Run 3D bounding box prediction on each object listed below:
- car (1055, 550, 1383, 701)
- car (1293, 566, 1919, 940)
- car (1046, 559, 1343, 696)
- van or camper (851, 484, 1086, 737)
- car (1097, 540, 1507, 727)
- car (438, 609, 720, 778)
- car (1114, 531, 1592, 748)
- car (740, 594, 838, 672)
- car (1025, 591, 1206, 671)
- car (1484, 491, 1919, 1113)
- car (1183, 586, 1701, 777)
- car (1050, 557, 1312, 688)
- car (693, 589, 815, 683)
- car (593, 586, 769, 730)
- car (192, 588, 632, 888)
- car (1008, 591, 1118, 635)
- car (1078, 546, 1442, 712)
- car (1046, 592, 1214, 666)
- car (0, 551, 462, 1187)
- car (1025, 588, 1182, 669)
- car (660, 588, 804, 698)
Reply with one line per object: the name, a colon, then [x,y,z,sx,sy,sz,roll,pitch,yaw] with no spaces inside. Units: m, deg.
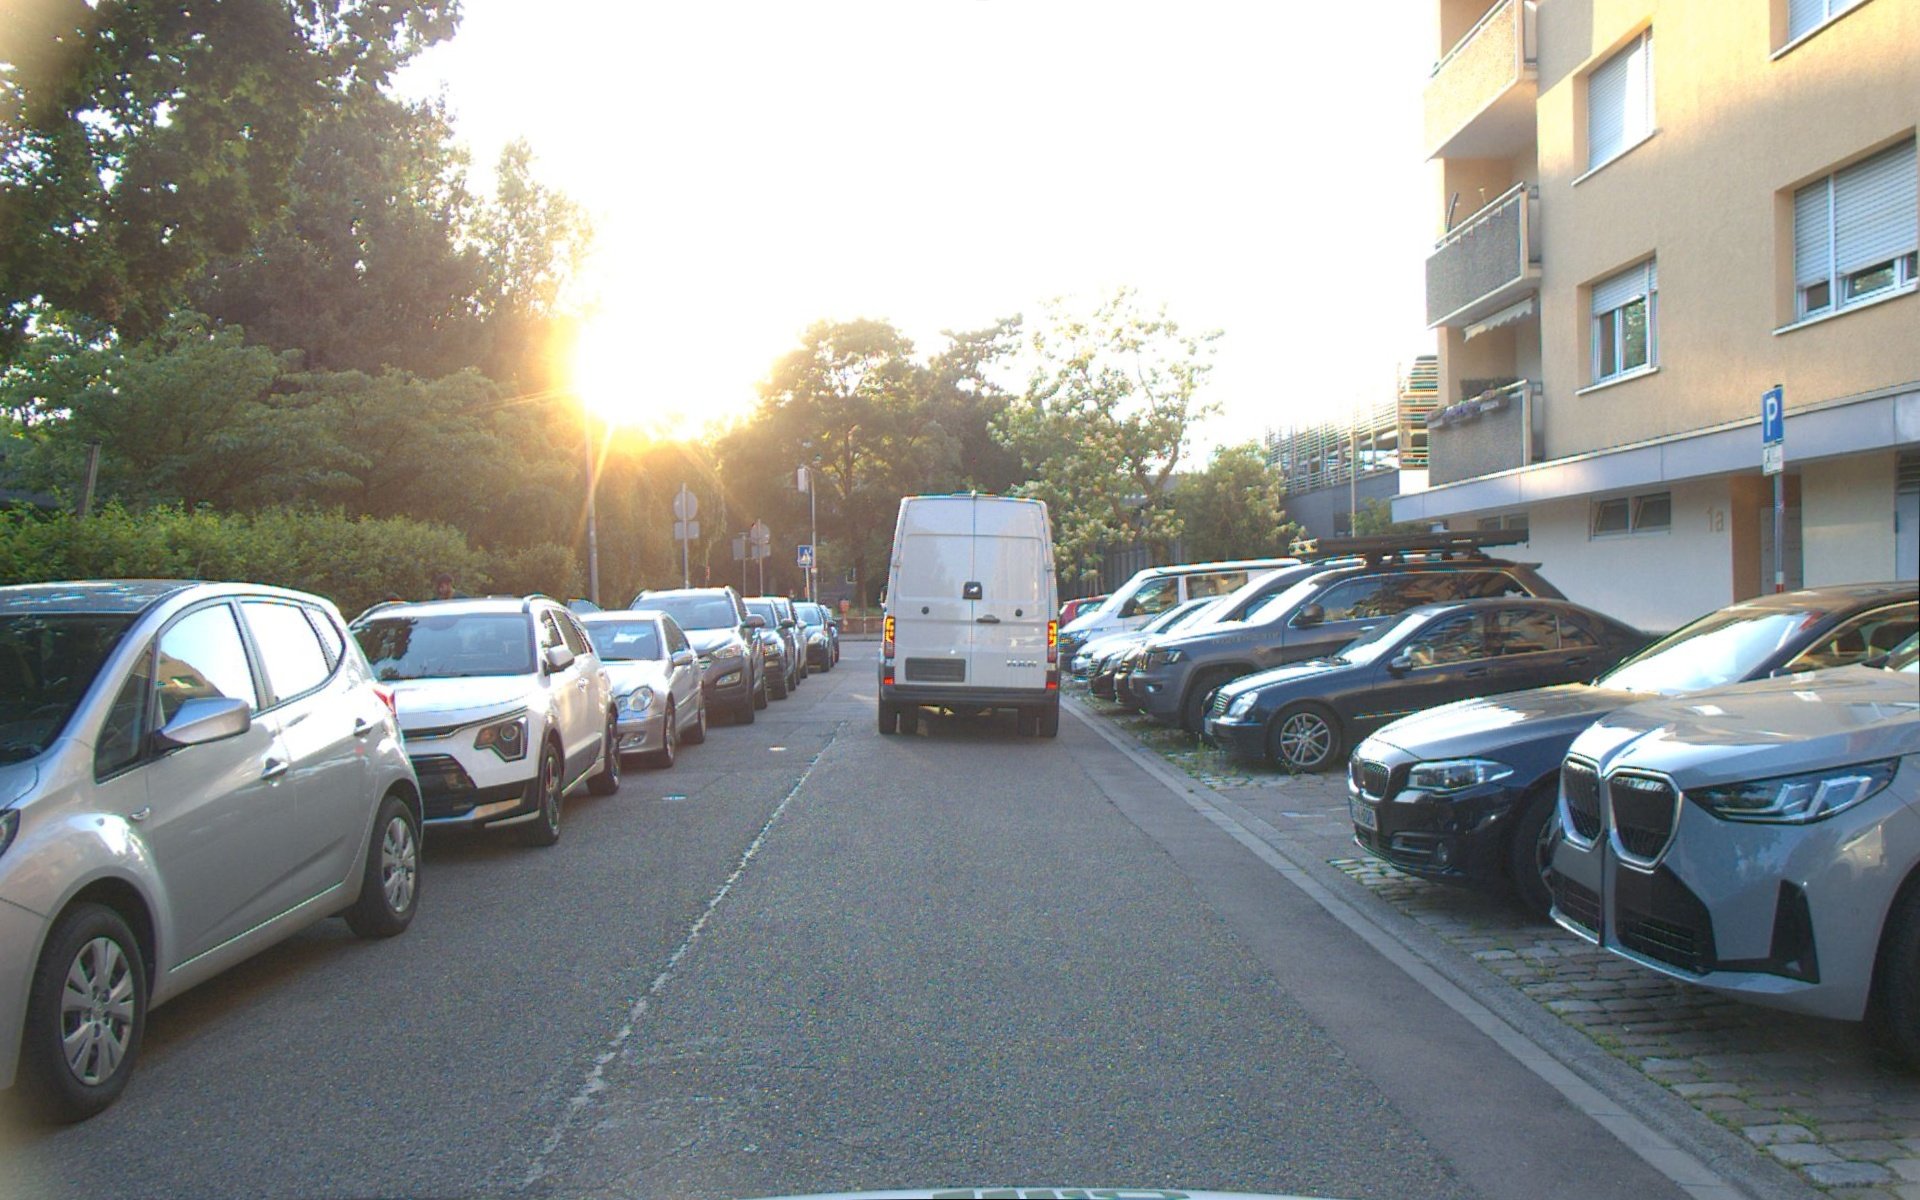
car: [3.830,0.365,25.022,4.612,2.183,1.999,0,0,-3]
car: [3.912,0.654,8.478,3.910,1.479,1.833,-4,0,-6]
car: [3.816,0.432,27.468,4.612,2.183,1.999,0,0,-3]
van or camper: [0.158,0.102,20.272,2.403,2.591,6.084,1,0,1]
car: [4.103,0.384,20.369,4.612,2.183,1.999,0,0,-3]
car: [-3.583,0.821,16.297,1.953,1.422,3.999,0,0,-2]
car: [4.076,0.391,17.685,4.612,2.183,1.999,0,0,-3]
car: [-3.740,0.690,36.733,1.954,1.646,3.998,0,0,-3]
car: [3.479,0.684,37.513,3.906,1.758,2.000,0,0,-1]
car: [4.337,0.506,5.884,4.351,1.758,1.769,-2,0,-8]
car: [4.250,0.691,15.014,4.152,1.450,1.719,-3,0,-2]
car: [3.891,0.387,29.655,4.405,2.269,2.031,0,0,-2]
car: [-3.788,0.617,31.012,1.954,1.646,3.998,0,0,-3]
car: [-3.514,0.673,21.498,1.955,1.691,3.996,0,0,-5]
car: [-3.446,0.757,11.256,1.819,1.582,4.096,-2,0,-4]
car: [3.886,0.496,62.838,3.909,1.646,1.998,0,0,-5]
car: [4.039,0.376,22.794,4.612,2.183,1.999,0,0,-3]
car: [4.120,0.687,40.566,3.906,1.758,2.000,0,0,-1]
car: [-3.379,0.741,6.097,1.747,1.659,4.000,-3,0,1]
car: [3.673,0.710,42.876,3.905,2.049,2.000,0,0,0]
car: [-3.590,0.631,26.704,1.954,1.646,3.998,0,0,-3]
